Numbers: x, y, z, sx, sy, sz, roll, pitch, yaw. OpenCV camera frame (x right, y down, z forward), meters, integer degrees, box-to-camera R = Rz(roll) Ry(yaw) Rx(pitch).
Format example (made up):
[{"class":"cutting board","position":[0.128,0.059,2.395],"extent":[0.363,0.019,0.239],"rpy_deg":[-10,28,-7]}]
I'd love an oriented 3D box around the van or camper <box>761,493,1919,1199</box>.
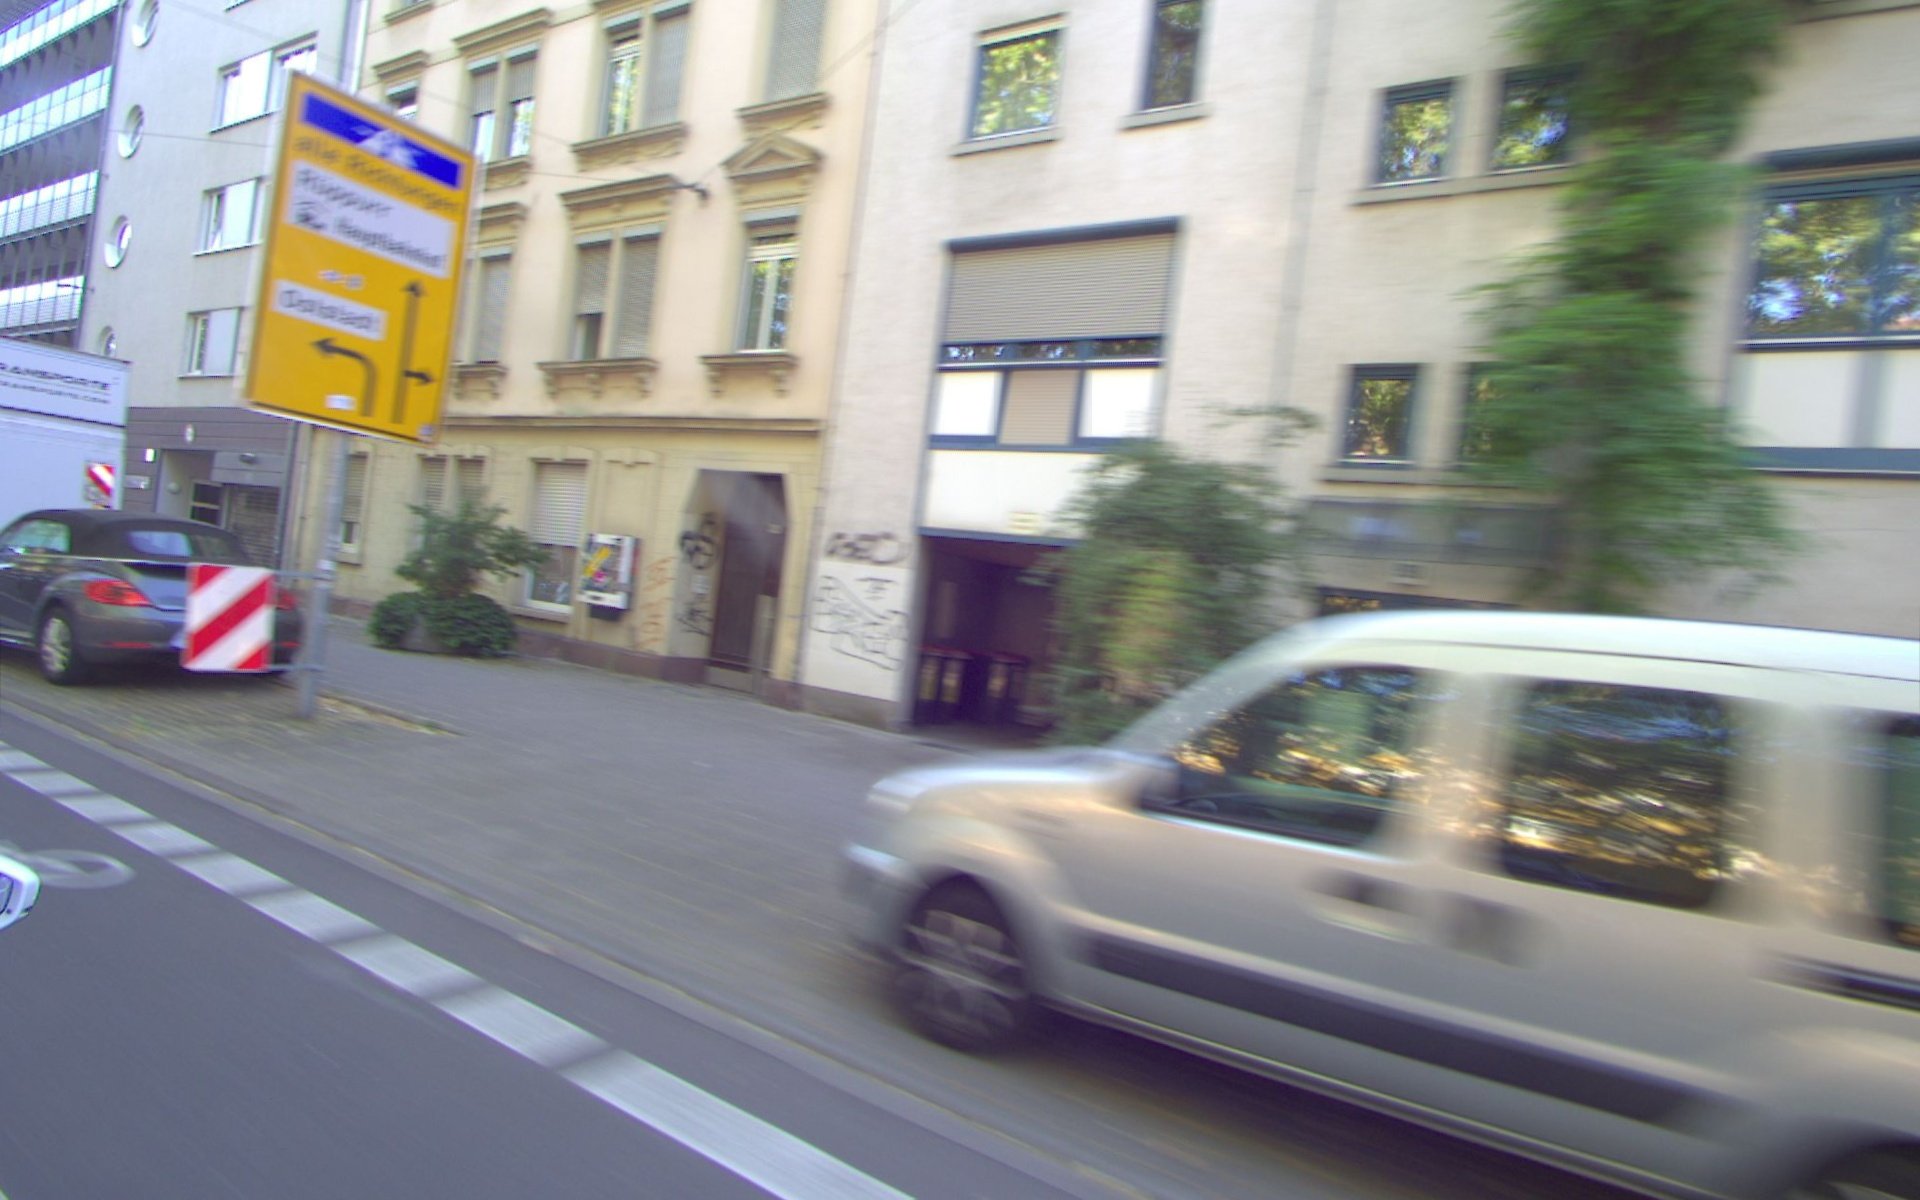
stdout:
[{"class":"van or camper","position":[1.547,0.817,3.547],"extent":[4.137,1.906,1.672],"rpy_deg":[7,0,28]}]

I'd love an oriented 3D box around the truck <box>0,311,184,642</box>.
[{"class":"truck","position":[-12.770,-1.585,12.457],"extent":[7.075,3.382,2.539],"rpy_deg":[6,2,32]}]

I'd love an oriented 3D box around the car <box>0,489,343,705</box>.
[{"class":"car","position":[-7.996,-0.139,9.521],"extent":[4.079,1.578,1.733],"rpy_deg":[6,1,27]}]
